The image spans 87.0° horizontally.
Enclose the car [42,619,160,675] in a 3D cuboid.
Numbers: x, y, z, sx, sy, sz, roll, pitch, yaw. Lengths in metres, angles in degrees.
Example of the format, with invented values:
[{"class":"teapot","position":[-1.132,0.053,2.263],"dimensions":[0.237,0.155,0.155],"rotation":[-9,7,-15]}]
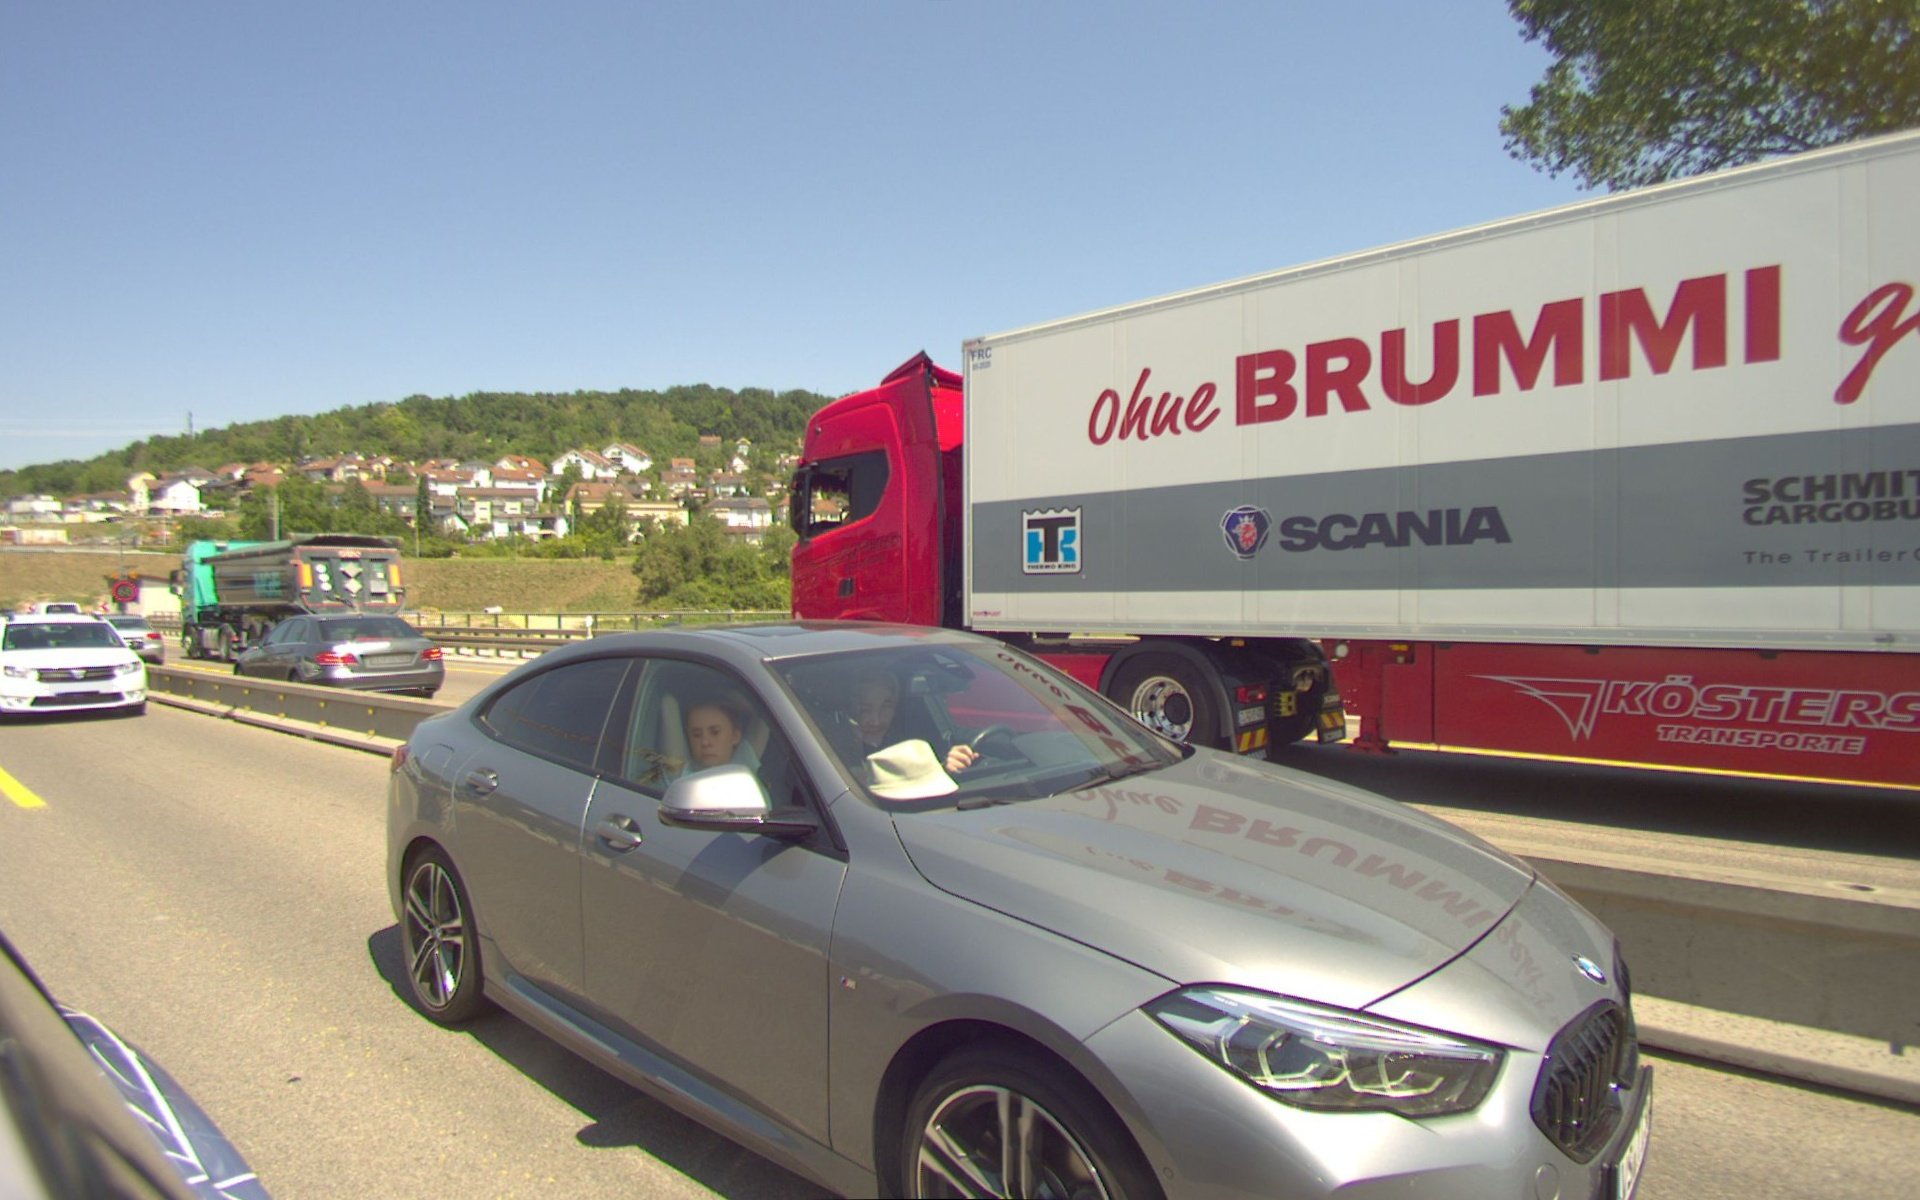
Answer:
[{"class":"car","position":[-23.312,1.234,27.404],"dimensions":[4.709,1.390,1.762],"rotation":[-1,-2,41]}]

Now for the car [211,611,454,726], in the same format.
[{"class":"car","position":[-9.994,0.968,15.947],"dimensions":[4.917,1.499,1.870],"rotation":[-1,0,41]}]

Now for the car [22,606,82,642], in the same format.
[{"class":"car","position":[-50.372,1.317,56.128],"dimensions":[4.625,1.882,1.840],"rotation":[-1,-1,40]}]

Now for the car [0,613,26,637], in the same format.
[{"class":"car","position":[-66.058,1.711,69.802],"dimensions":[3.995,1.581,1.796],"rotation":[-1,-1,38]}]

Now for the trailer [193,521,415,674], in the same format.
[{"class":"trailer","position":[-18.601,-0.026,28.397],"dimensions":[8.950,3.700,2.766],"rotation":[-1,0,40]}]

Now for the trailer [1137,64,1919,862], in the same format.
[{"class":"trailer","position":[6.872,-0.762,5.615],"dimensions":[11.791,4.208,2.777],"rotation":[-2,-1,41]}]

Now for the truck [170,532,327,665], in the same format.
[{"class":"truck","position":[-22.148,-0.027,31.423],"dimensions":[5.371,3.750,2.768],"rotation":[0,0,41]}]

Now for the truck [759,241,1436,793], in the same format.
[{"class":"truck","position":[1.091,-0.550,10.635],"dimensions":[6.517,4.068,2.787],"rotation":[-2,-1,40]}]

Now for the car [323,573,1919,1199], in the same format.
[{"class":"car","position":[-0.214,0.747,3.286],"dimensions":[4.739,1.463,1.833],"rotation":[-1,-1,41]}]

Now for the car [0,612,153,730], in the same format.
[{"class":"car","position":[-13.897,0.979,15.426],"dimensions":[4.705,1.542,1.799],"rotation":[-1,-1,42]}]

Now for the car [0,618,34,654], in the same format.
[{"class":"car","position":[-39.674,1.477,41.831],"dimensions":[4.101,1.419,1.614],"rotation":[-1,-2,41]}]
